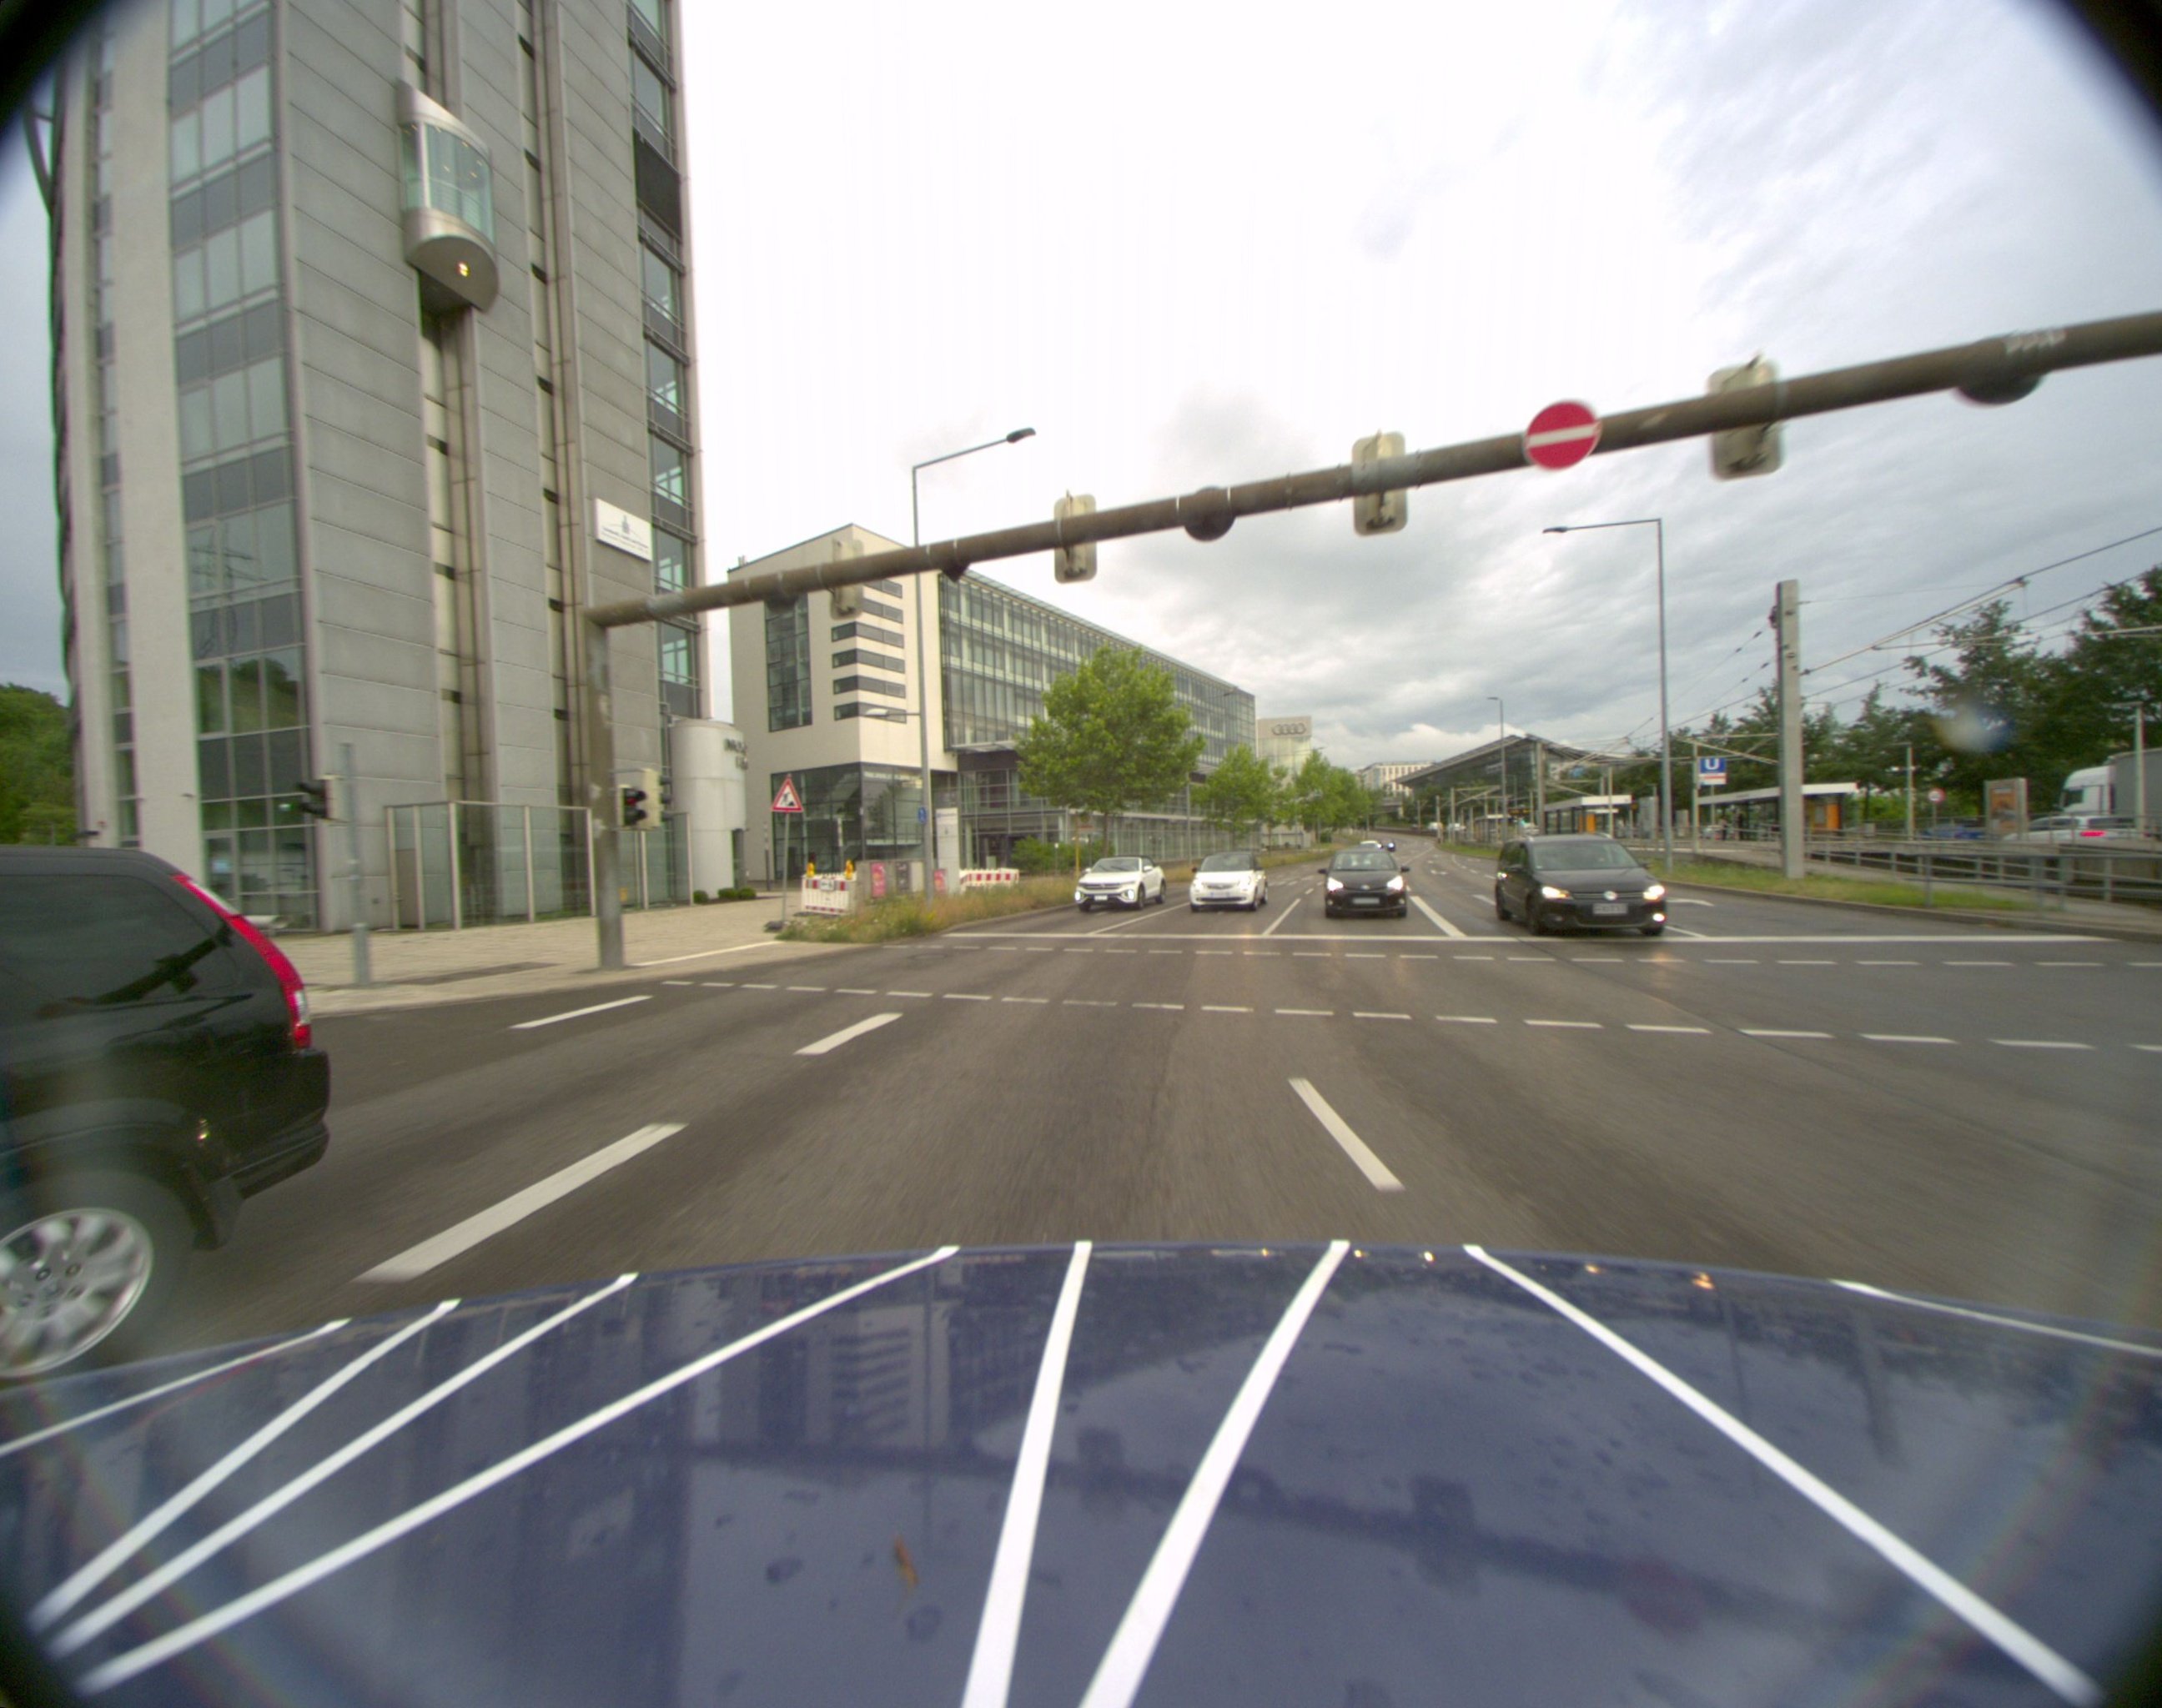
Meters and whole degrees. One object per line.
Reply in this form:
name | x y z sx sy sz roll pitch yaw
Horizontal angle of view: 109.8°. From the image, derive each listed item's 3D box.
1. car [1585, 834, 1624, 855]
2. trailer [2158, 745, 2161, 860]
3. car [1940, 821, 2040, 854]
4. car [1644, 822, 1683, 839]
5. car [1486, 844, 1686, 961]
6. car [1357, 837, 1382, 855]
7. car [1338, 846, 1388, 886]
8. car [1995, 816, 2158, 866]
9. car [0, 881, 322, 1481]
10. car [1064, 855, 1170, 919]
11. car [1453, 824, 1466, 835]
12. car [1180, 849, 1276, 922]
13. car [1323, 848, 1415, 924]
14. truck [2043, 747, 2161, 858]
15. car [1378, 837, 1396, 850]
car | 45.677 -0.870 66.379 1.530 1.657 4.273 -4 1 18
trailer | 37.928 -1.806 21.404 2.797 4.083 11.458 -1 0 21
car | 49.259 -0.923 41.307 1.573 1.617 4.087 -4 0 19
car | 55.055 -2.226 71.854 1.789 1.494 4.005 -4 1 21
car | 8.366 0.696 13.040 1.729 1.582 4.197 -4 0 18
car | 29.867 -0.849 78.685 1.826 1.701 4.160 -4 1 28
car | 12.256 0.494 32.908 1.737 1.469 4.006 -4 0 23
car | 37.546 -0.517 28.846 1.889 1.642 4.101 -4 1 22
car | -4.058 0.989 0.821 1.769 1.620 4.326 -4 0 6
car | 1.145 0.903 22.114 1.996 1.668 3.828 -2 -1 20
car | 82.107 -5.425 164.897 1.996 2.201 5.150 -4 1 21
car | 4.111 0.761 20.769 1.802 1.713 4.005 -1 1 22
car | 6.547 0.654 17.405 1.695 1.514 3.910 -3 0 20
truck | 40.664 -1.918 28.600 2.834 3.973 5.995 -2 0 21
car | 39.259 -1.323 97.429 1.698 1.514 3.831 -2 2 30
